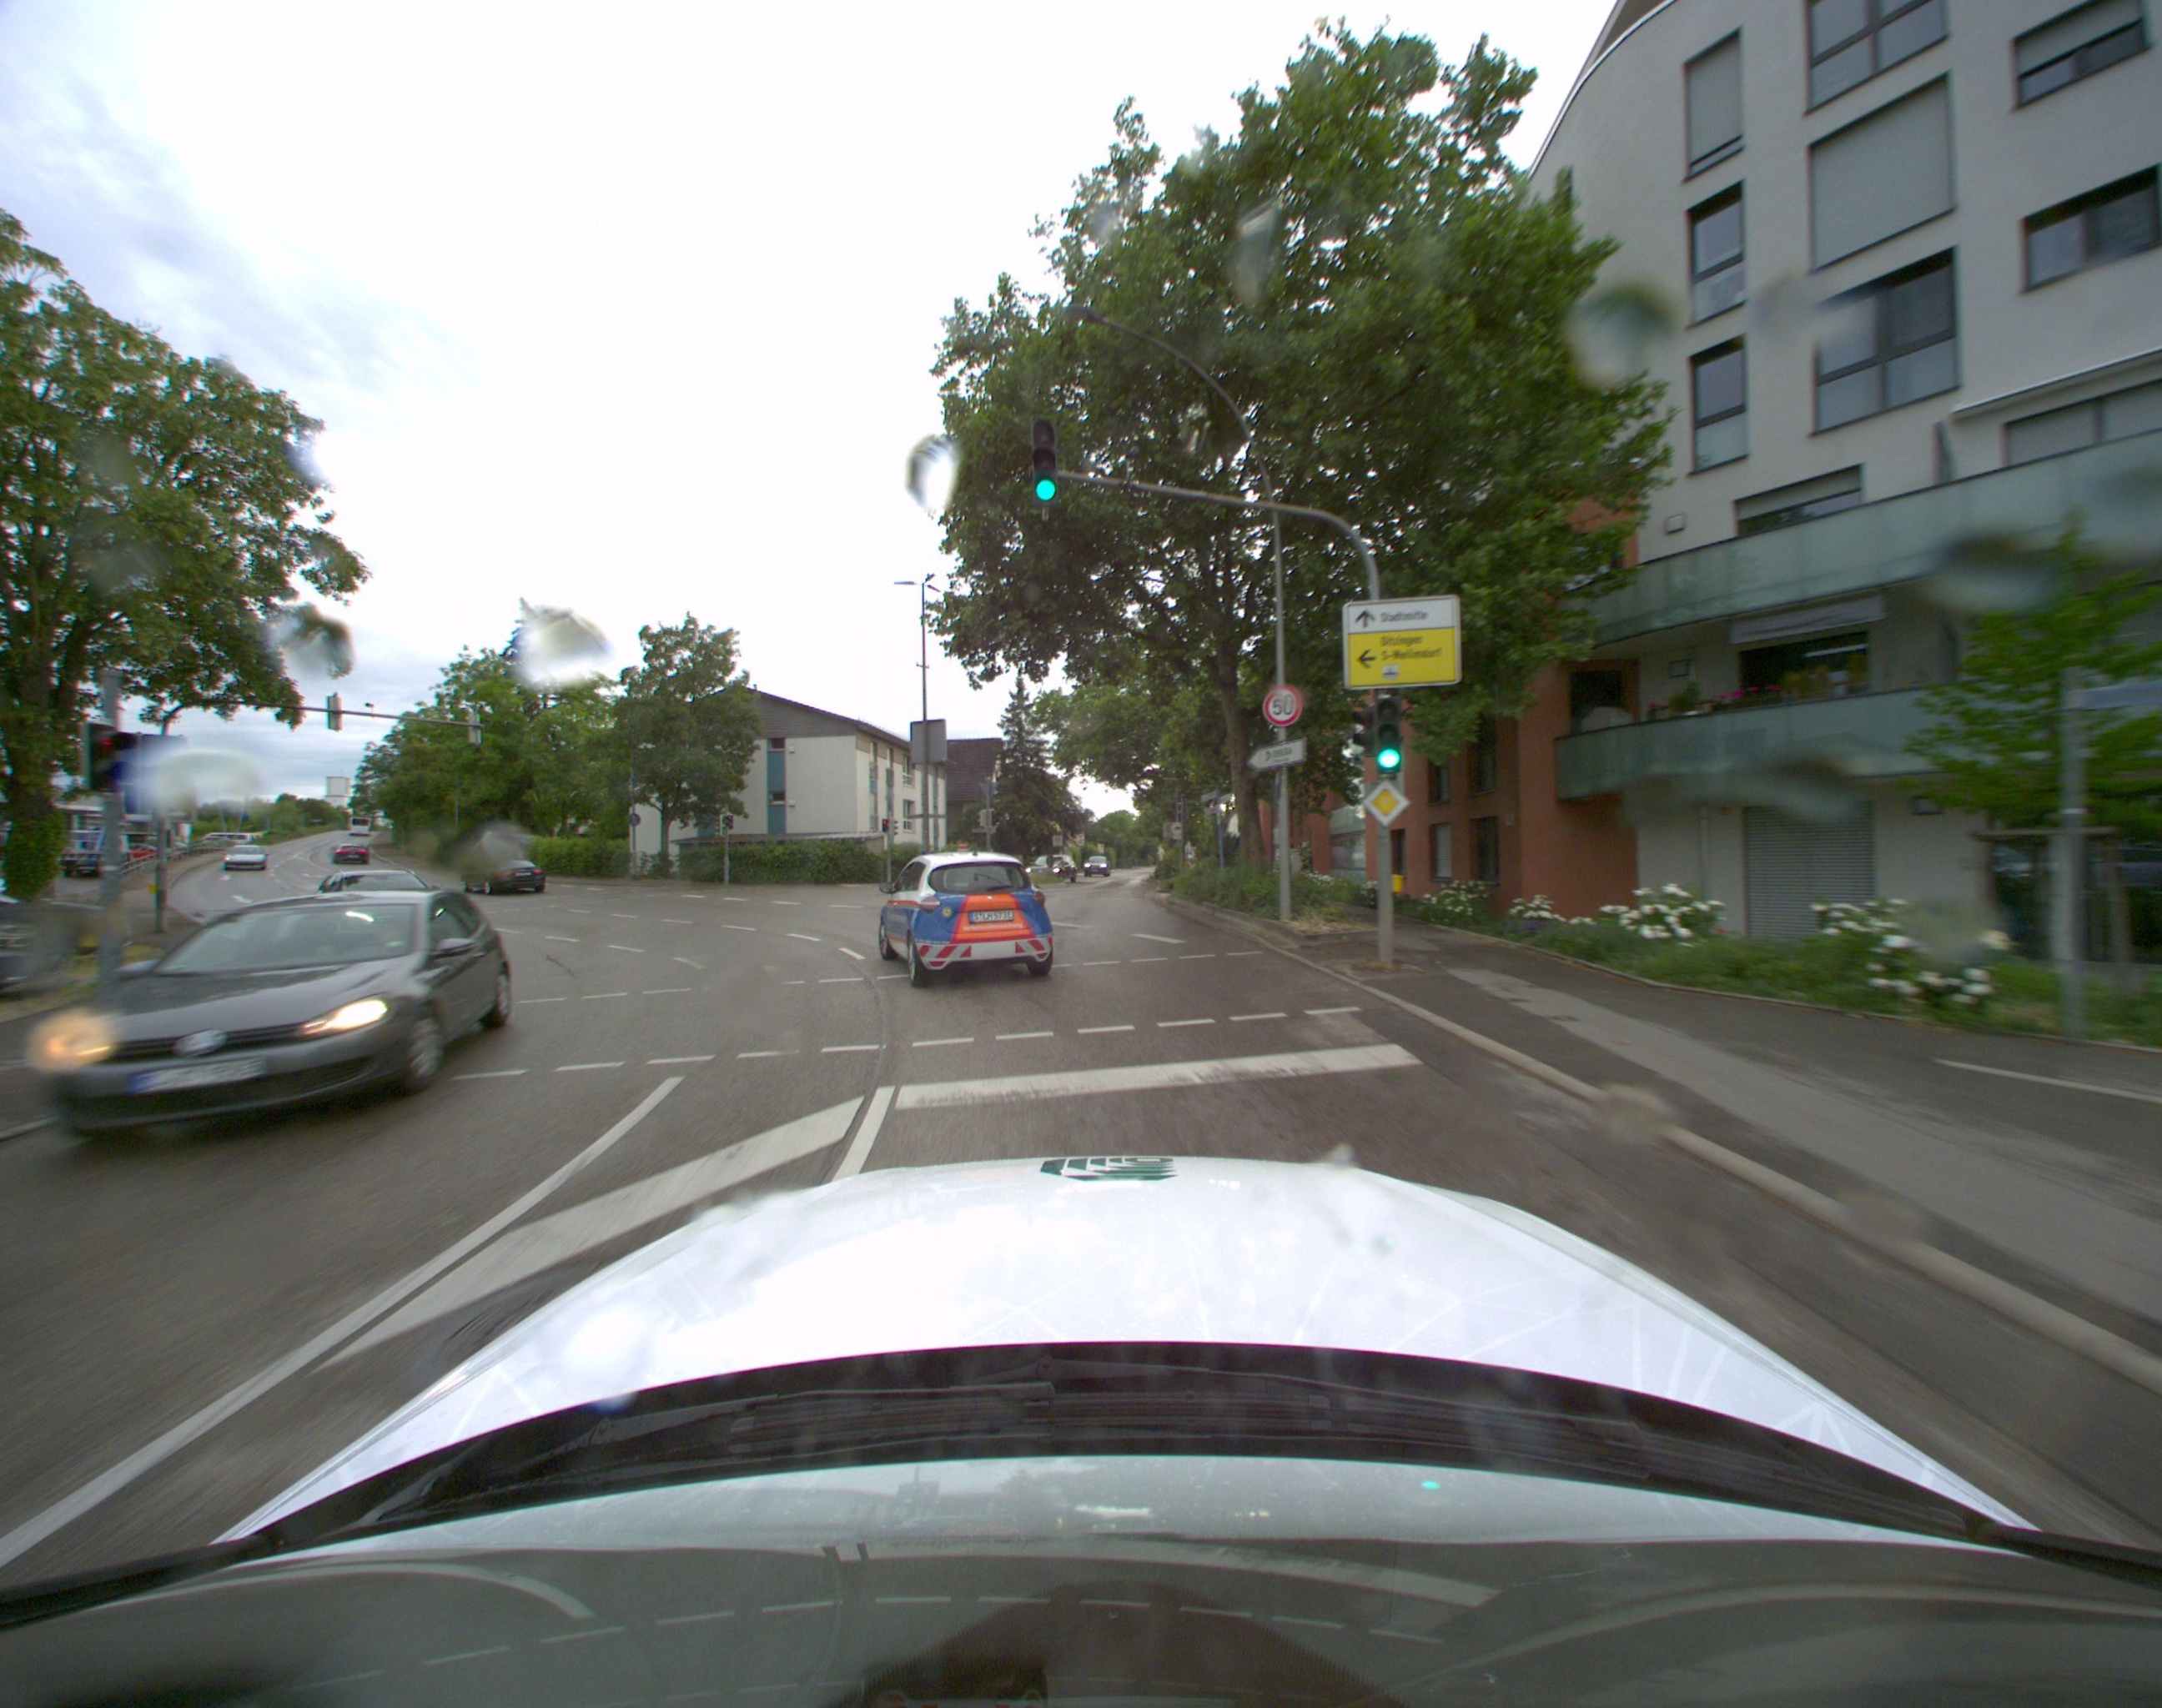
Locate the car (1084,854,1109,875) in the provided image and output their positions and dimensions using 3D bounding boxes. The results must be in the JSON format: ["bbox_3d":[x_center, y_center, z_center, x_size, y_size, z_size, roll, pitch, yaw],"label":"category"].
[{"bbox_3d":[1.296,0.838,66.719,1.869,1.669,3.718,0,0,4],"label":"car"}]

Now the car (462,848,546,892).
[{"bbox_3d":[-22.724,0.563,32.016,3.950,1.574,2.012,1,1,44],"label":"car"}]

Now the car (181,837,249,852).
[{"bbox_3d":[-96.012,-1.043,90.367,1.795,1.623,4.792,-1,0,15],"label":"car"}]

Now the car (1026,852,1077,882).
[{"bbox_3d":[-1.457,0.654,42.181,1.931,1.452,4.308,1,-1,7],"label":"car"}]

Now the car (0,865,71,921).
[{"bbox_3d":[-30.803,1.051,22.002,1.744,1.522,4.009,0,-2,9],"label":"car"}]

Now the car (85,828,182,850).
[{"bbox_3d":[-71.993,-1.094,61.974,1.791,1.623,4.801,-1,0,41],"label":"car"}]

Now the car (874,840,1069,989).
[{"bbox_3d":[-1.669,0.657,11.010,1.752,1.581,3.972,-2,0,-20],"label":"car"}]

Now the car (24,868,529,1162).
[{"bbox_3d":[-6.048,0.959,6.813,1.733,1.456,3.966,-4,2,-26],"label":"car"}]

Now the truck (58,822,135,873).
[{"bbox_3d":[-52.661,-0.385,43.653,2.011,2.539,5.491,0,1,-44],"label":"truck"}]

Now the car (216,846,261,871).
[{"bbox_3d":[-50.229,0.259,48.537,3.660,1.404,1.602,1,1,40],"label":"car"}]

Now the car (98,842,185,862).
[{"bbox_3d":[-69.488,-0.152,60.300,1.791,1.376,4.025,-1,0,32],"label":"car"}]

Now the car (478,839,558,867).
[{"bbox_3d":[-36.351,-0.106,52.623,4.023,1.723,1.976,-1,1,-44],"label":"car"}]

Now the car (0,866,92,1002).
[{"bbox_3d":[-14.418,1.001,9.018,3.997,1.490,1.739,-3,3,-33],"label":"car"}]

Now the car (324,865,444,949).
[{"bbox_3d":[-15.053,1.038,17.701,1.721,1.391,4.299,-4,3,-39],"label":"car"}]

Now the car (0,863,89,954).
[{"bbox_3d":[-19.963,0.974,13.757,1.735,1.510,4.025,1,1,40],"label":"car"}]

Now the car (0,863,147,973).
[{"bbox_3d":[-17.388,1.030,12.373,4.024,1.554,1.736,-3,3,-45],"label":"car"}]

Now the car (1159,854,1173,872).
[{"bbox_3d":[10.380,1.083,99.759,1.635,2.017,3.722,0,1,6],"label":"car"}]

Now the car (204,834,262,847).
[{"bbox_3d":[-108.409,-1.694,104.155,1.795,1.623,4.792,-1,0,15],"label":"car"}]

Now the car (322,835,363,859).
[{"bbox_3d":[-53.390,-0.490,58.884,2.012,1.684,3.951,-1,1,-45],"label":"car"}]
